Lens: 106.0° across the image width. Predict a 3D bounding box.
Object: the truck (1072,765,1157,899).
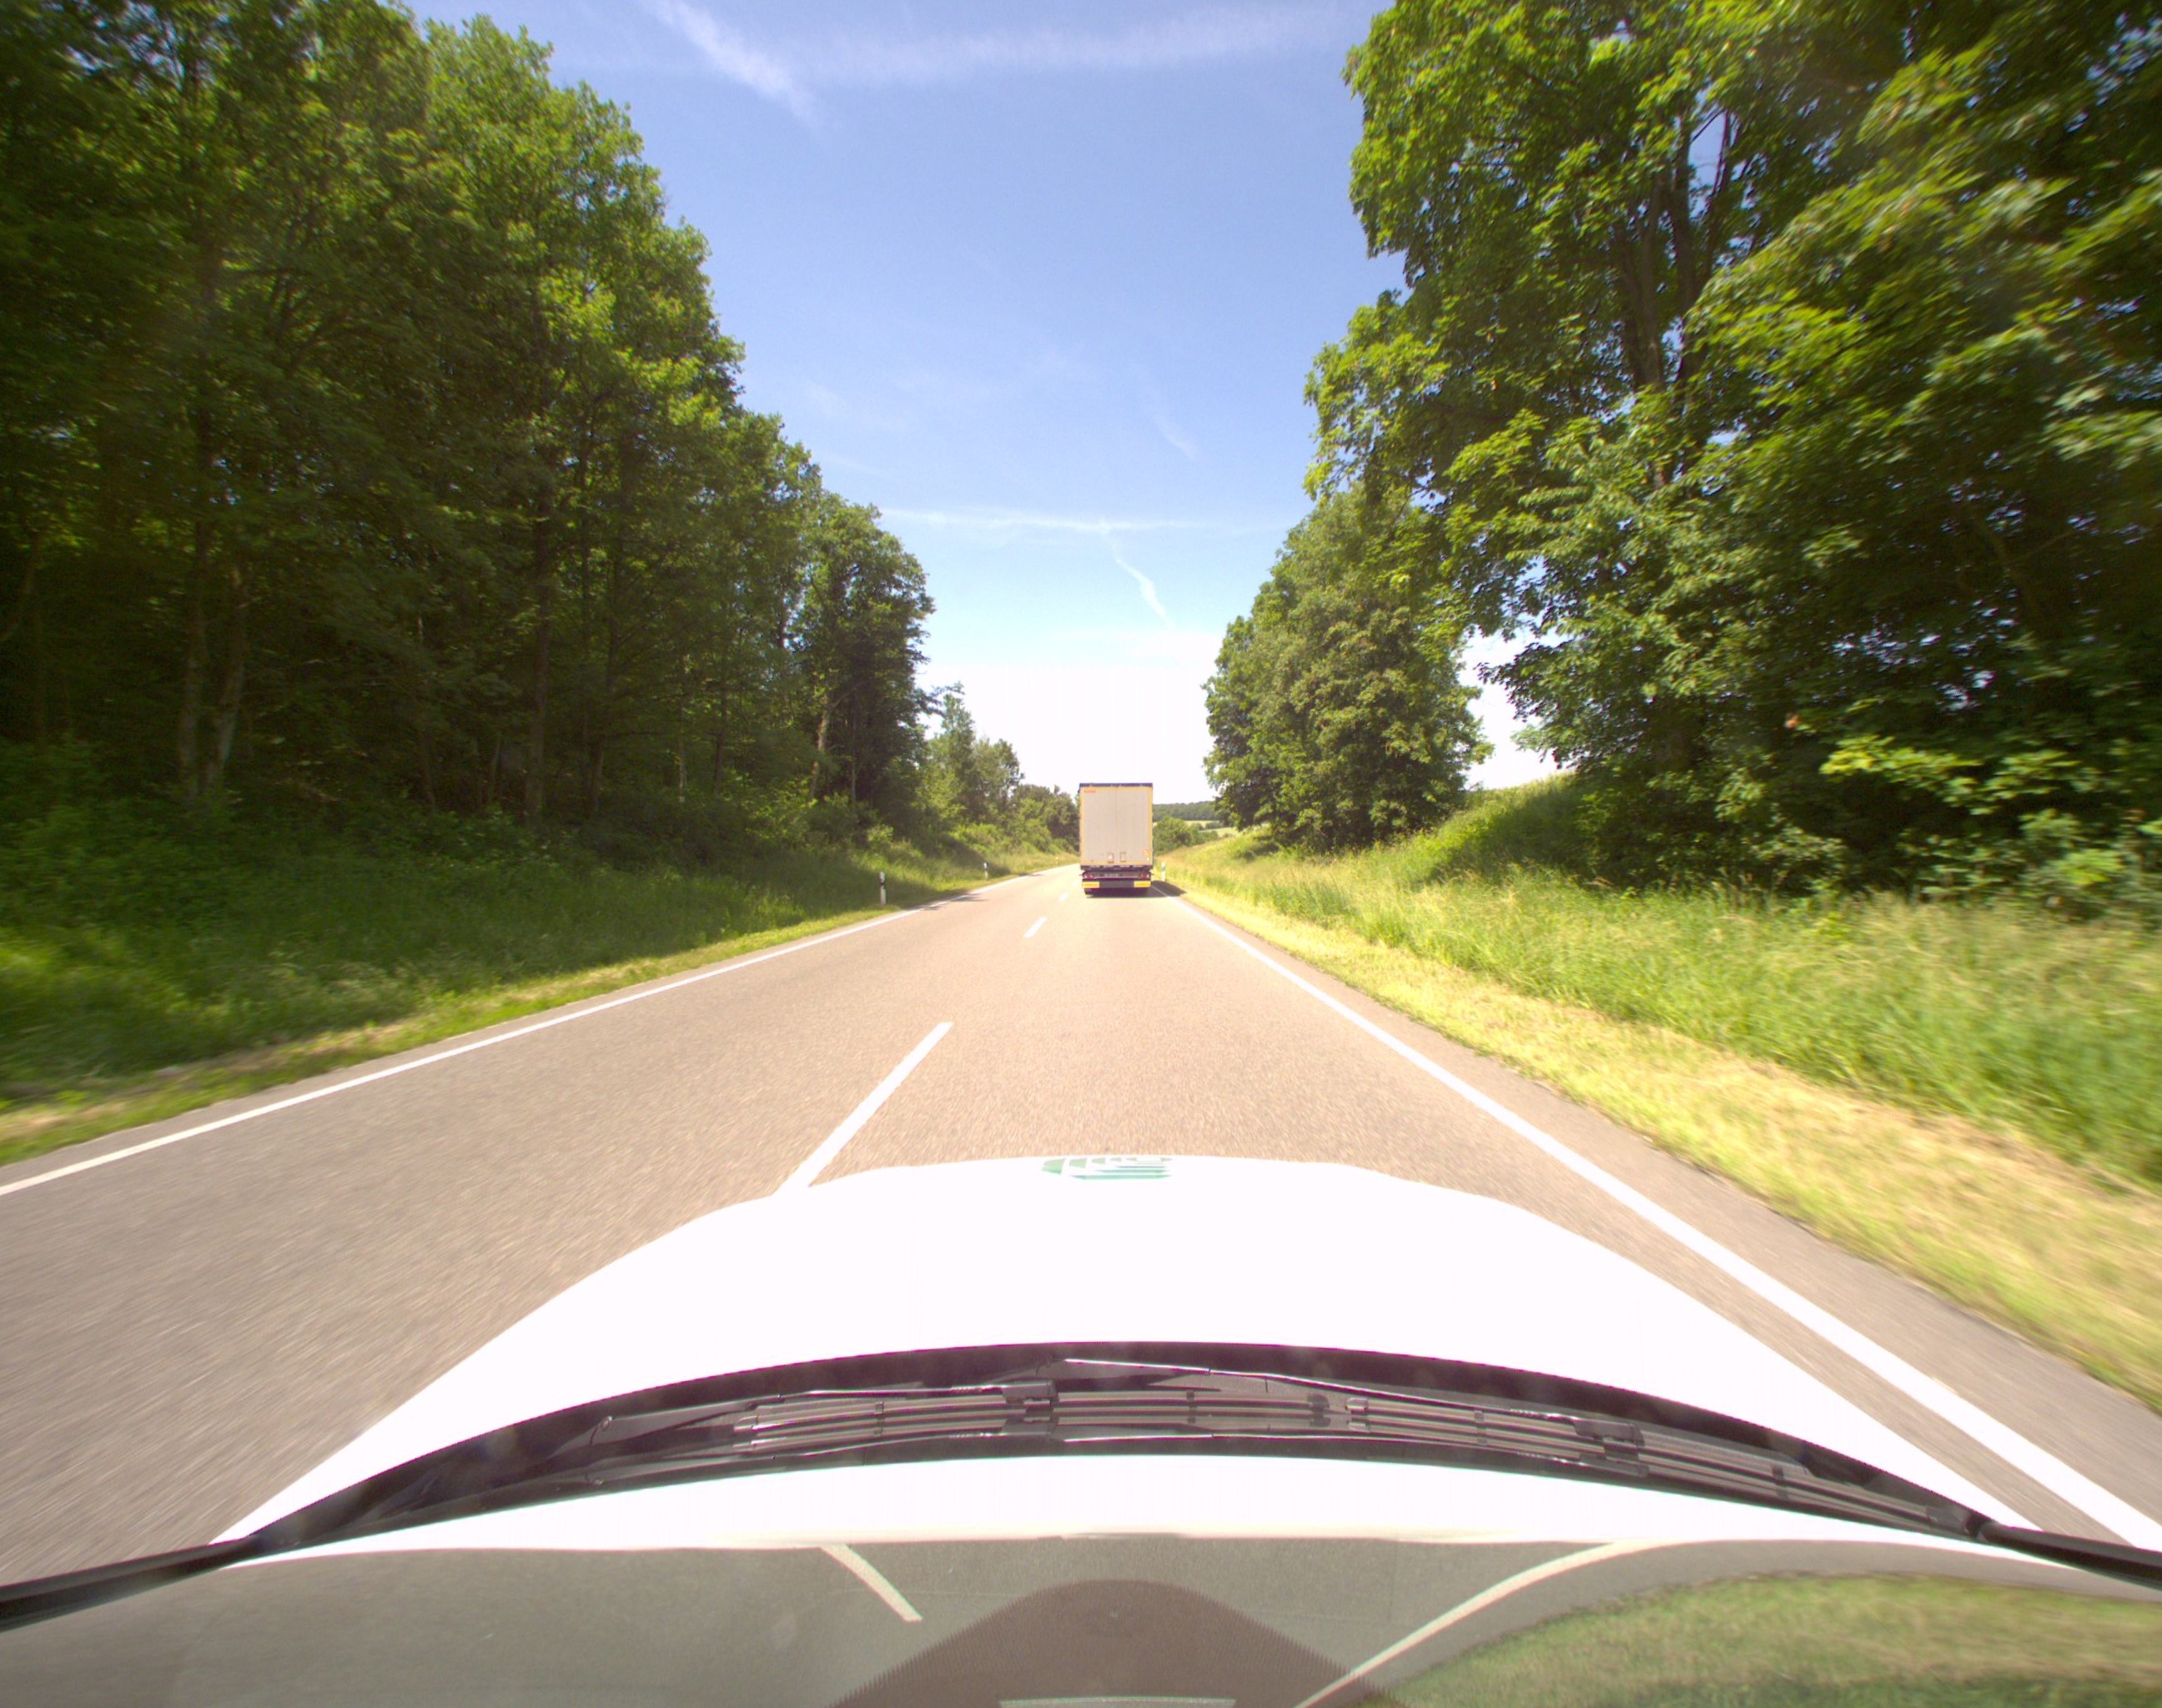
[{"bbox_3d":[1.368,-0.778,33.963,2.806,4.532,11.773,-1,0,2],"label":"truck"}]
